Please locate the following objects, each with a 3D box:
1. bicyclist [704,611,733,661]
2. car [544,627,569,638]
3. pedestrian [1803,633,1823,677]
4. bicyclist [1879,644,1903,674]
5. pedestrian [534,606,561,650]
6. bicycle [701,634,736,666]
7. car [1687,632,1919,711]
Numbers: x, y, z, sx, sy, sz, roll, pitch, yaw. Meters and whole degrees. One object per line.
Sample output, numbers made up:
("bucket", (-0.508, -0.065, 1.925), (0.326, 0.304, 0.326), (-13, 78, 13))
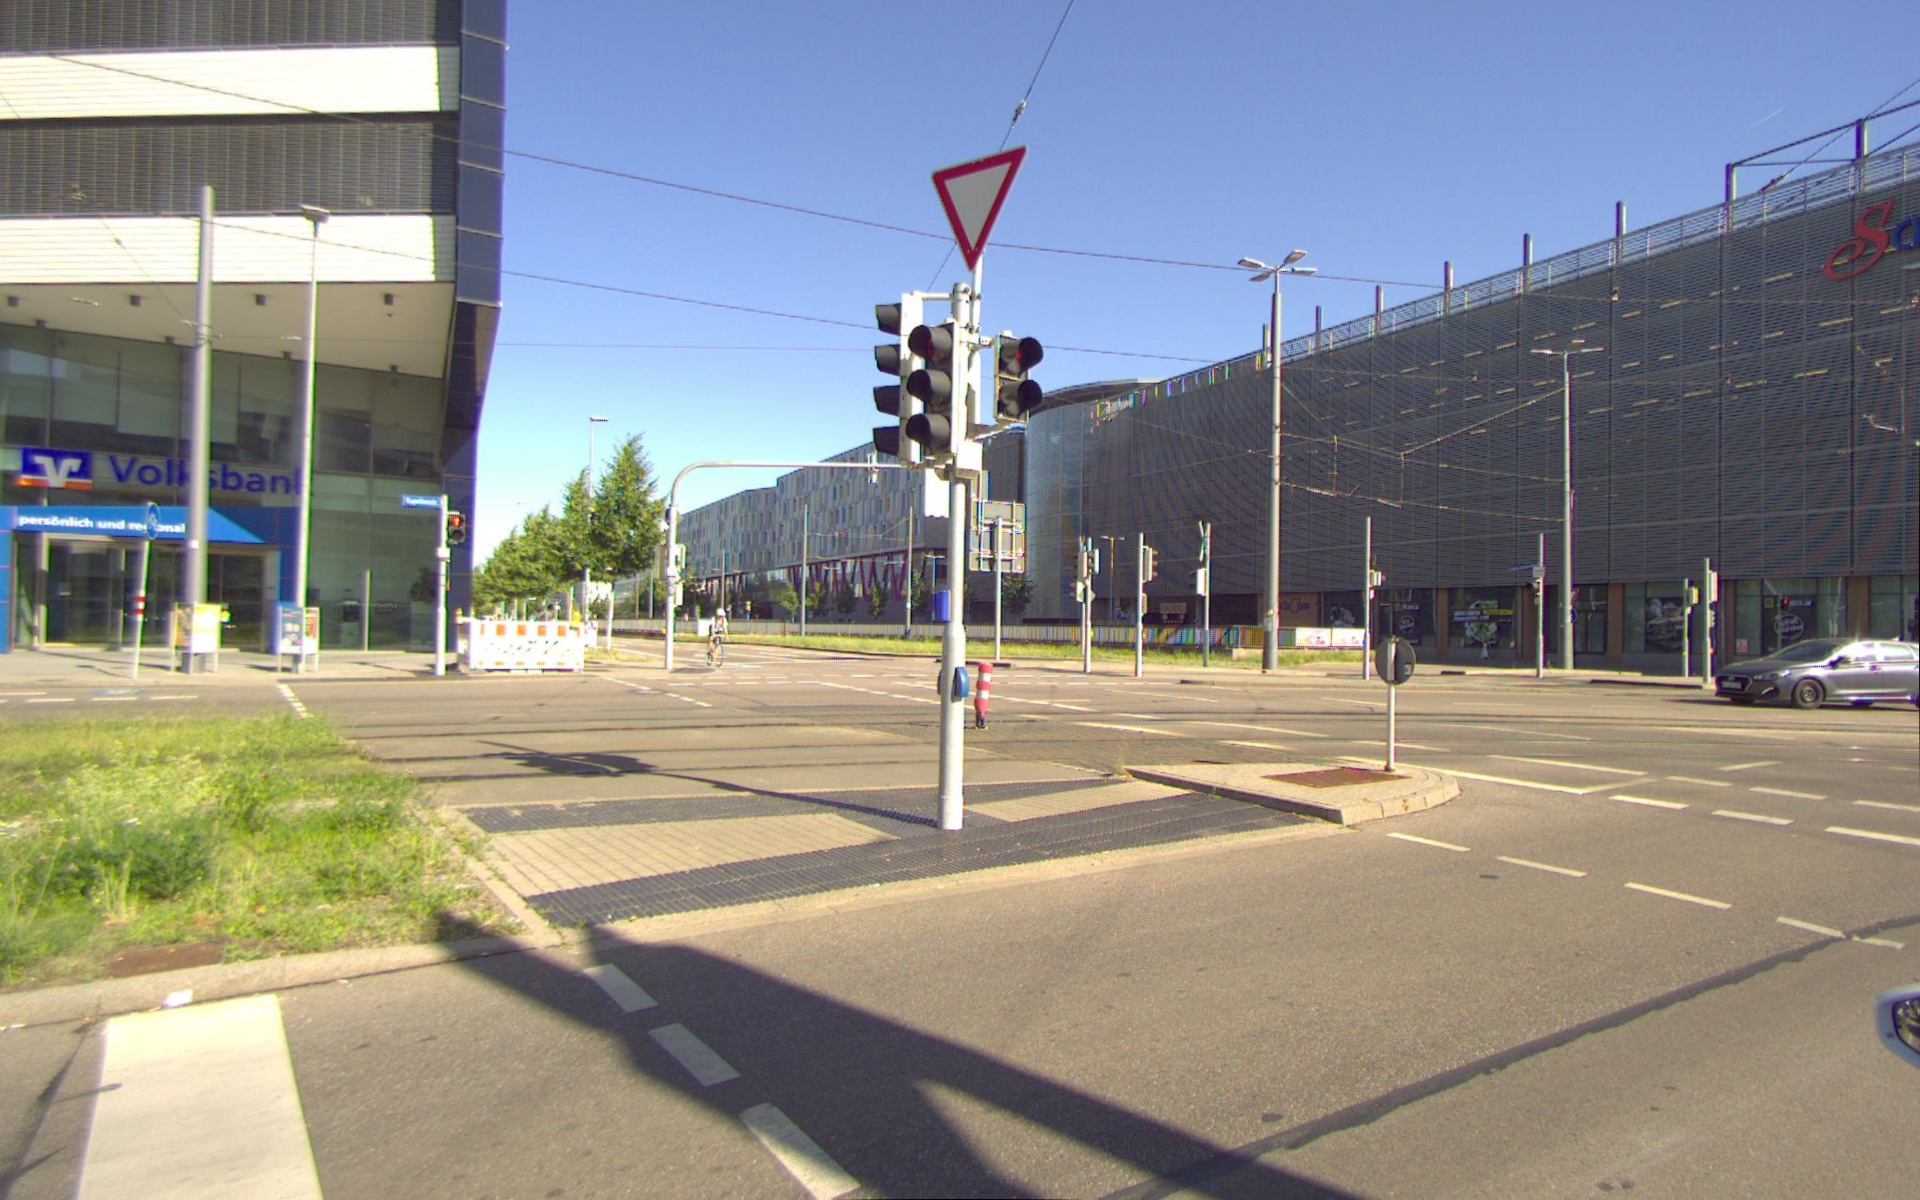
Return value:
("bicyclist", (-7.061, 1.048, 29.365), (0.750, 1.428, 0.768), (2, -1, -19))
("car", (-42.435, 3.390, 105.642), (1.976, 1.104, 3.969), (2, -2, -29))
("pedestrian", (34.816, 2.248, 41.012), (0.616, 1.774, 0.586), (0, -2, 41))
("bicyclist", (36.033, 2.271, 38.872), (0.553, 1.154, 0.559), (1, -1, 26))
("pedestrian", (-14.989, 1.011, 36.477), (0.846, 1.576, 0.610), (2, -1, -25))
("bicycle", (-7.052, 1.439, 29.292), (0.758, 0.851, 2.558), (2, -1, -18))
("car", (18.118, 1.475, 21.131), (4.225, 1.519, 2.000), (1, -1, 0))
